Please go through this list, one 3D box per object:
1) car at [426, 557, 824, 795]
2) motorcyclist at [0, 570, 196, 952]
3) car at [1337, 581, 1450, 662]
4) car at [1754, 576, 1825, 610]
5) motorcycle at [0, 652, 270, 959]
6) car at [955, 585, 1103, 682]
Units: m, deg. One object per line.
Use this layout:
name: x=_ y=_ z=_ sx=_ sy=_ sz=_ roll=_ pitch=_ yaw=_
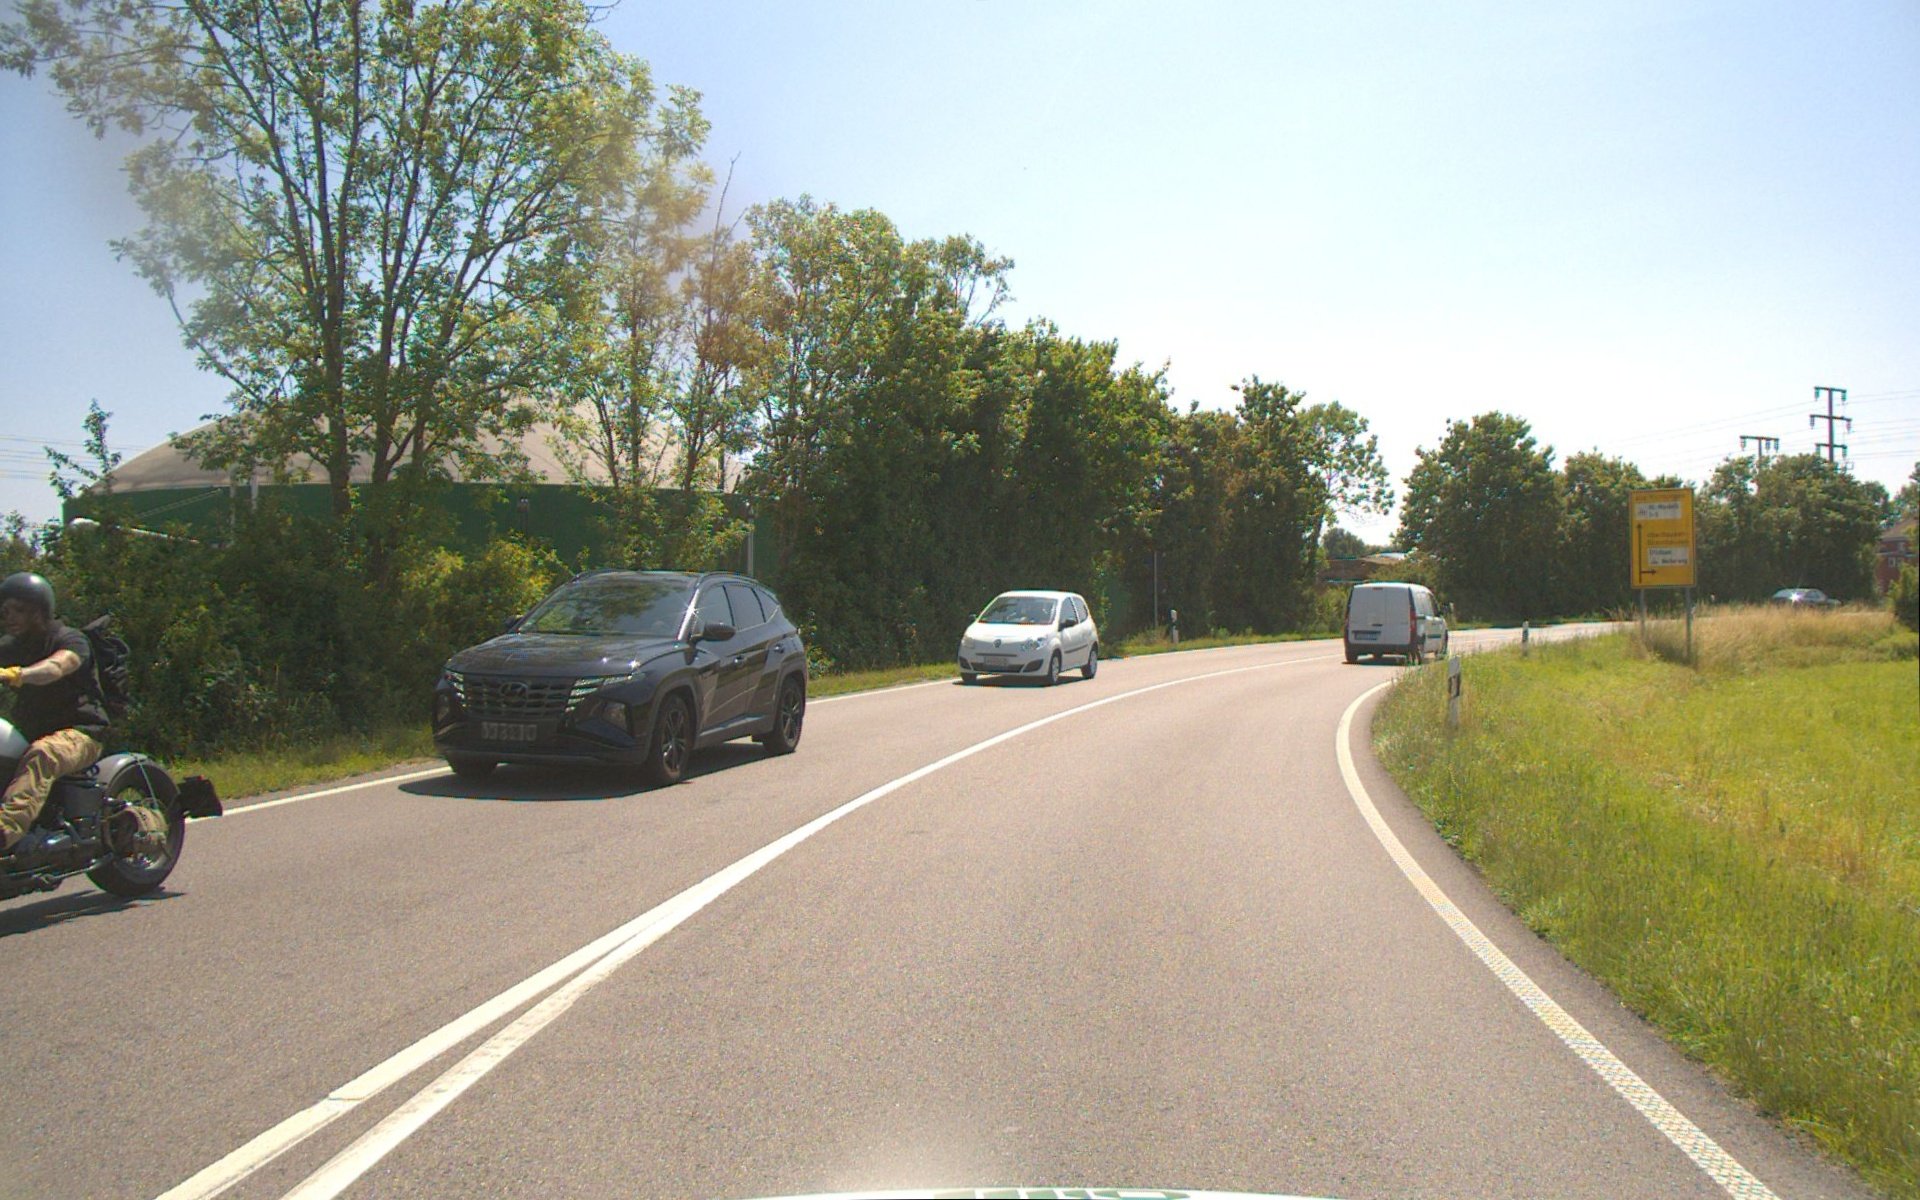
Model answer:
car: x=-2.608 y=0.527 z=13.990 sx=1.665 sy=1.666 sz=4.253 roll=1 pitch=0 yaw=13
motorcyclist: x=-4.028 y=0.648 z=7.211 sx=0.764 sy=1.521 sz=1.131 roll=0 pitch=-1 yaw=8
car: x=10.132 y=0.506 z=38.452 sx=1.866 sy=1.763 sz=3.819 roll=-1 pitch=-1 yaw=25
car: x=37.072 y=-0.292 z=73.867 sx=3.716 sy=1.445 sz=1.697 roll=0 pitch=-1 yaw=-44
motorcycle: x=-4.038 y=0.832 z=7.195 sx=0.765 sy=1.143 sz=2.431 roll=1 pitch=0 yaw=8
car: x=1.231 y=0.549 z=27.820 sx=1.504 sy=1.468 sz=3.609 roll=2 pitch=0 yaw=19
